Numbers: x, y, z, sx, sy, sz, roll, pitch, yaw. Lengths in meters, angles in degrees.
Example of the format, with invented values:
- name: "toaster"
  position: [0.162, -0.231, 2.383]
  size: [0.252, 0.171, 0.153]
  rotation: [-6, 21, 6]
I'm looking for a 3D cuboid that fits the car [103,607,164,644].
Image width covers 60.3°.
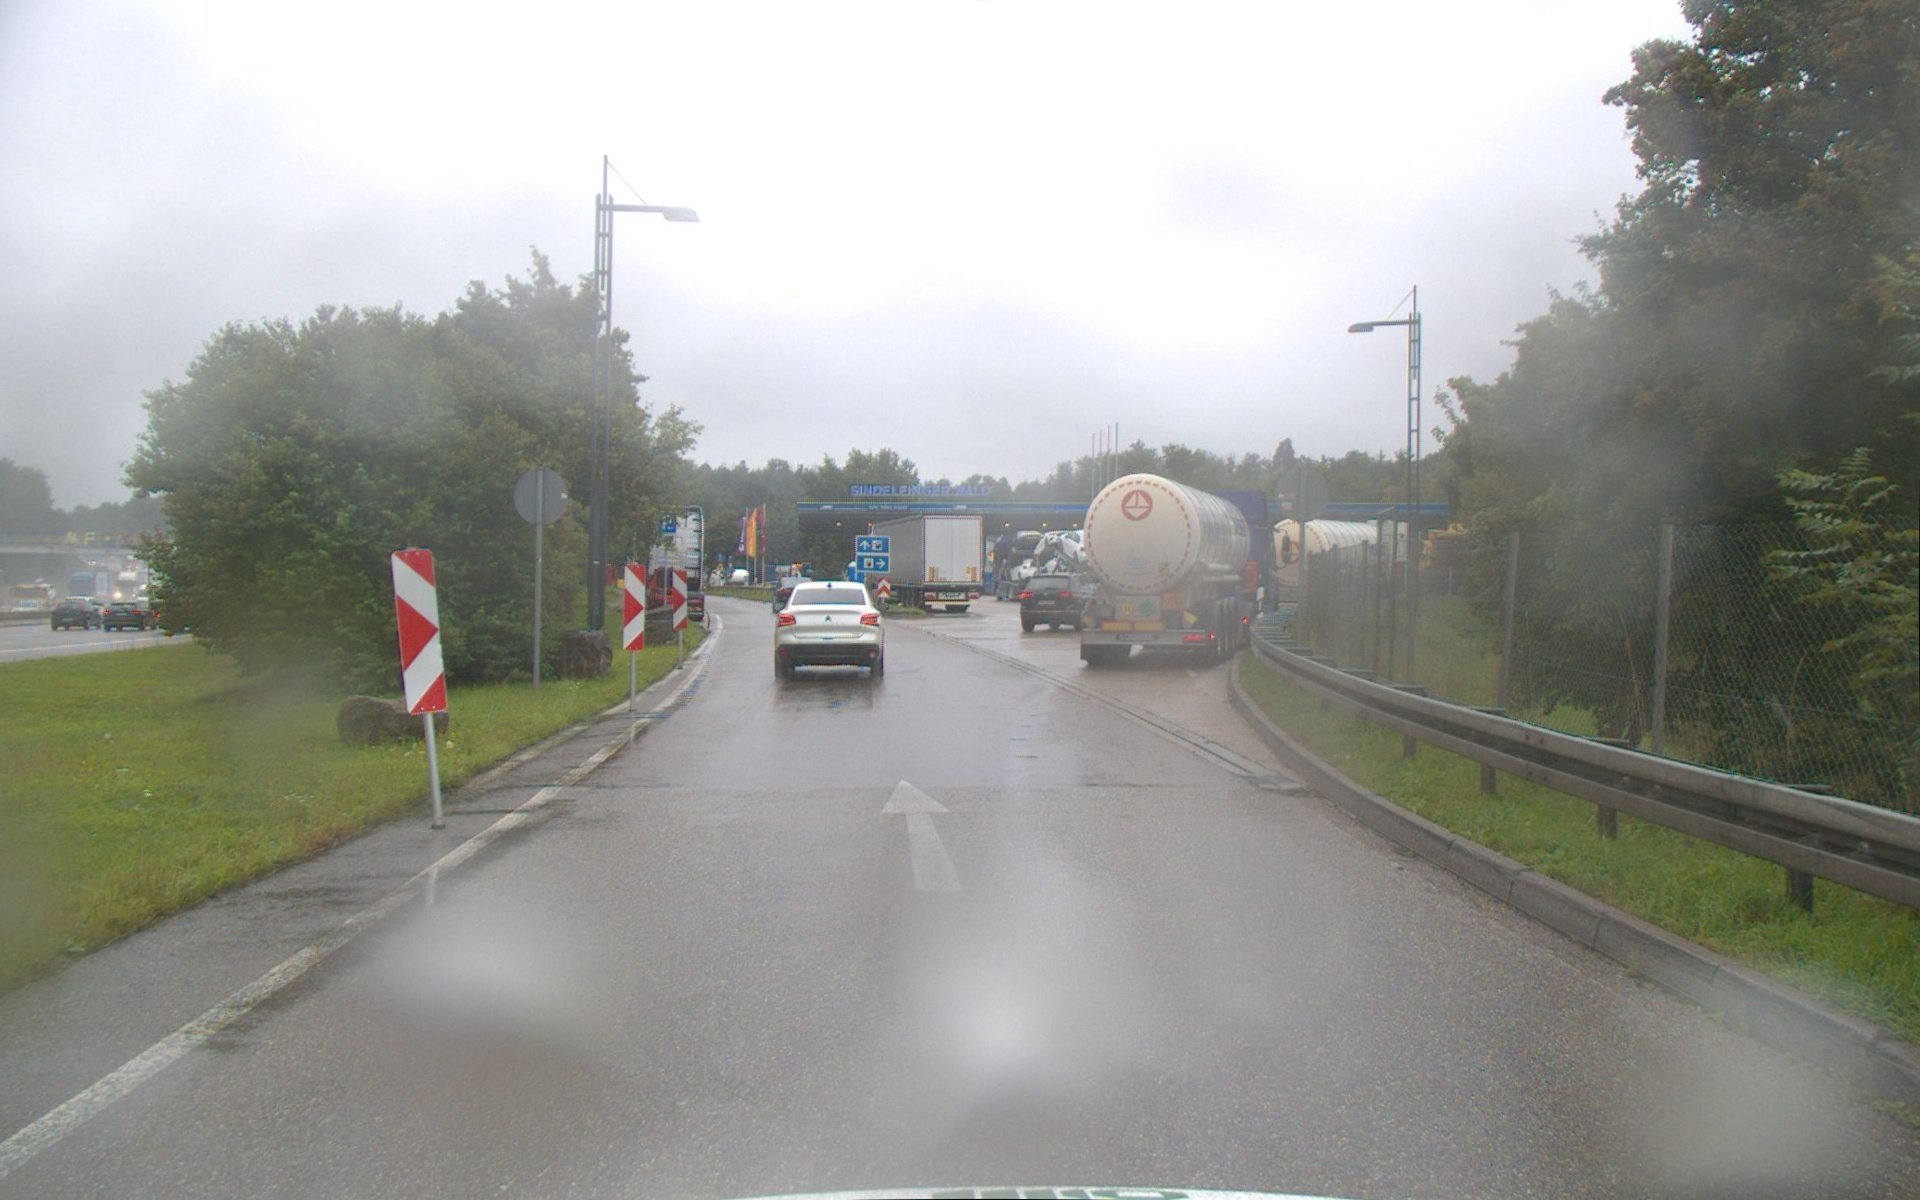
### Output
- name: "car"
  position: [-39.936, 1.224, 79.950]
  size: [1.745, 1.766, 3.834]
  rotation: [0, -1, -13]

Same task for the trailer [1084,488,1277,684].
- name: "trailer"
  position: [4.651, -0.294, 32.842]
  size: [1.939, 3.281, 10.326]
  rotation: [1, 1, 18]

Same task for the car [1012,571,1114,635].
- name: "car"
  position: [3.028, 0.116, 47.820]
  size: [1.707, 1.696, 3.999]
  rotation: [2, -1, 22]

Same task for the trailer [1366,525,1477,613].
- name: "trailer"
  position: [19.254, -1.294, 68.745]
  size: [2.145, 3.451, 7.539]
  rotation: [0, 1, 35]

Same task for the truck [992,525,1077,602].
- name: "truck"
  position: [4.256, -2.145, 96.756]
  size: [3.174, 4.261, 8.426]
  rotation: [1, 1, -9]

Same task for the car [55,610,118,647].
- name: "car"
  position: [-44.611, 1.444, 84.579]
  size: [1.745, 1.766, 4.087]
  rotation: [-1, 0, -12]

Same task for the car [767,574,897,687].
- name: "car"
  position: [-2.025, 0.490, 27.184]
  size: [1.953, 1.709, 3.998]
  rotation: [1, -1, -2]

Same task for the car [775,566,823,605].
- name: "car"
  position: [-6.482, -0.567, 66.890]
  size: [1.842, 1.487, 3.996]
  rotation: [1, 0, -5]

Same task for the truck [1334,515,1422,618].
- name: "truck"
  position: [15.198, -1.191, 59.978]
  size: [2.105, 3.574, 4.640]
  rotation: [0, 1, 28]

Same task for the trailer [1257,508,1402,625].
- name: "trailer"
  position: [12.348, -1.081, 54.454]
  size: [2.090, 3.500, 10.240]
  rotation: [0, 1, 28]

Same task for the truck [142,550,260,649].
- name: "truck"
  position: [-36.066, 0.080, 79.055]
  size: [2.800, 4.368, 11.800]
  rotation: [0, -1, -13]

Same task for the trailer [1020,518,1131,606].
- name: "trailer"
  position: [5.877, -1.985, 86.939]
  size: [3.157, 4.262, 11.505]
  rotation: [1, 1, -9]

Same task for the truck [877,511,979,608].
- name: "truck"
  position: [-1.619, -1.788, 73.987]
  size: [2.329, 3.941, 12.419]
  rotation: [0, 1, -12]

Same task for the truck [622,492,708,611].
- name: "truck"
  position: [-10.511, -1.666, 58.669]
  size: [2.863, 3.972, 6.299]
  rotation: [0, 1, -11]

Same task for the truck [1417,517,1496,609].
- name: "truck"
  position: [21.755, -1.585, 72.347]
  size: [2.143, 3.895, 4.128]
  rotation: [0, 1, 35]

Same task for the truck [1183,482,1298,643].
- name: "truck"
  position: [6.774, -0.865, 39.504]
  size: [2.010, 3.592, 4.748]
  rotation: [1, 1, 18]
